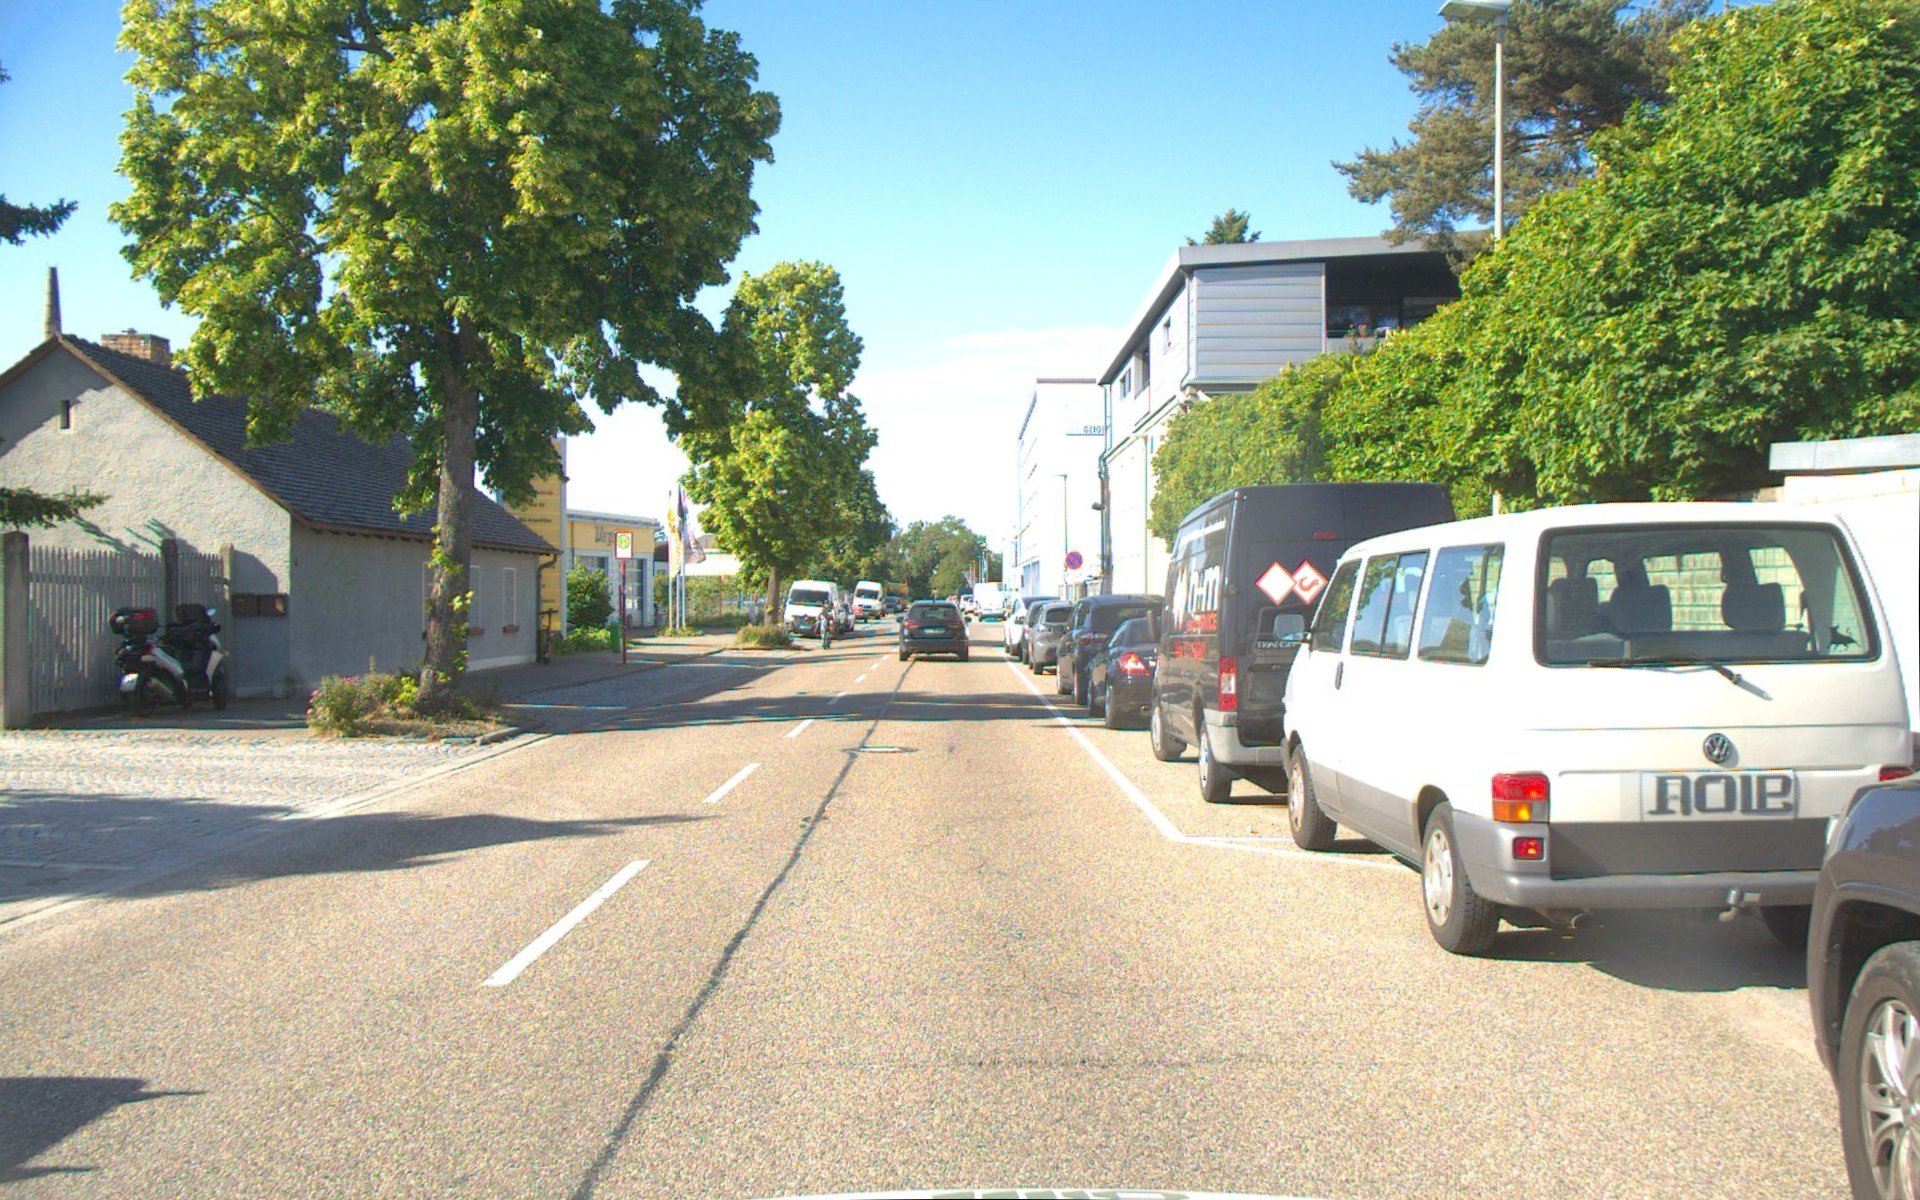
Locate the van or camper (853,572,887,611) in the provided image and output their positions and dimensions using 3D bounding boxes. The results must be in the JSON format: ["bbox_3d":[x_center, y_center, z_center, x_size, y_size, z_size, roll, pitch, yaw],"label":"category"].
[{"bbox_3d":[-6.671,-0.634,123.727,1.926,2.731,5.948,4,0,1],"label":"van or camper"}]

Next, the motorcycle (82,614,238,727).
[{"bbox_3d":[-9.827,0.828,20.443,0.685,1.255,2.539,2,0,-1],"label":"motorcycle"}]

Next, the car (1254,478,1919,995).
[{"bbox_3d":[2.951,0.512,8.825,1.853,1.959,4.921,-1,0,0],"label":"car"}]

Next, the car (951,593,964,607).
[{"bbox_3d":[-0.417,0.034,254.770,1.836,2.049,5.159,1,0,0],"label":"car"}]

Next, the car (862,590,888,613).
[{"bbox_3d":[-6.984,0.129,136.851,1.989,1.723,5.105,3,0,-2],"label":"car"}]

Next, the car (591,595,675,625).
[{"bbox_3d":[-17.746,0.521,89.768,4.069,1.601,1.918,0,0,9],"label":"car"}]

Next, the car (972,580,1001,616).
[{"bbox_3d":[2.098,-0.192,132.583,1.953,2.643,6.049,-2,1,-2],"label":"car"}]

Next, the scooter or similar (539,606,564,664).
[{"bbox_3d":[-9.393,0.781,37.998,0.474,1.293,1.570,0,0,-18],"label":"scooter or similar"}]

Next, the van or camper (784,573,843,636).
[{"bbox_3d":[-6.589,0.183,74.814,2.029,2.593,6.403,3,0,-1],"label":"van or camper"}]

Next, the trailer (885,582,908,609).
[{"bbox_3d":[-8.321,-0.555,217.140,2.931,3.503,8.158,-1,0,-2],"label":"trailer"}]

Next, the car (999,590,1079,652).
[{"bbox_3d":[2.219,0.565,47.693,1.893,1.673,4.768,-1,0,-2],"label":"car"}]

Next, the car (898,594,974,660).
[{"bbox_3d":[-0.582,0.655,42.118,1.809,1.557,4.000,-1,0,0],"label":"car"}]

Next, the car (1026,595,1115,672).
[{"bbox_3d":[2.317,0.673,35.585,1.625,1.531,4.031,-1,0,0],"label":"car"}]

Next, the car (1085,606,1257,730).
[{"bbox_3d":[2.558,0.782,20.857,1.620,1.341,4.104,-1,0,0],"label":"car"}]

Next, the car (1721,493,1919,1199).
[{"bbox_3d":[3.041,0.654,2.151,1.765,1.774,4.911,1,0,-1],"label":"car"}]

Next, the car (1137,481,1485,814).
[{"bbox_3d":[2.729,0.319,14.142,1.853,2.299,5.145,-1,0,0],"label":"car"}]

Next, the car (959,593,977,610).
[{"bbox_3d":[0.909,0.173,188.277,1.848,1.829,5.102,1,0,-2],"label":"car"}]

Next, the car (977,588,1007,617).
[{"bbox_3d":[2.031,0.163,106.542,1.850,1.864,5.091,0,0,1],"label":"car"}]

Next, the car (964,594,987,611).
[{"bbox_3d":[1.331,0.233,143.934,1.856,1.430,5.123,1,0,-1],"label":"car"}]

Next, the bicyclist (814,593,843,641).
[{"bbox_3d":[-4.463,0.570,56.223,0.822,1.569,1.137,2,-1,2],"label":"bicyclist"}]

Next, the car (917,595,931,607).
[{"bbox_3d":[-4.535,0.087,208.129,1.711,1.473,4.360,-1,0,-1],"label":"car"}]

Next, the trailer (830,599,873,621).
[{"bbox_3d":[-6.839,0.634,104.960,2.328,1.098,6.244,3,1,-1],"label":"trailer"}]

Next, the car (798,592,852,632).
[{"bbox_3d":[-6.529,0.561,80.366,1.952,1.768,4.576,3,0,2],"label":"car"}]

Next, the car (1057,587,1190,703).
[{"bbox_3d":[2.479,0.643,25.933,1.647,1.642,4.205,1,0,0],"label":"car"}]

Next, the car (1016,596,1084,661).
[{"bbox_3d":[2.244,0.661,41.109,1.565,1.498,4.191,-1,0,3],"label":"car"}]

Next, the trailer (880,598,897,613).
[{"bbox_3d":[-6.837,0.507,158.080,1.446,1.378,3.078,1,0,-1],"label":"trailer"}]

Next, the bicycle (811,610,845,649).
[{"bbox_3d":[-4.473,0.982,56.222,0.822,1.261,2.605,2,0,2],"label":"bicycle"}]
